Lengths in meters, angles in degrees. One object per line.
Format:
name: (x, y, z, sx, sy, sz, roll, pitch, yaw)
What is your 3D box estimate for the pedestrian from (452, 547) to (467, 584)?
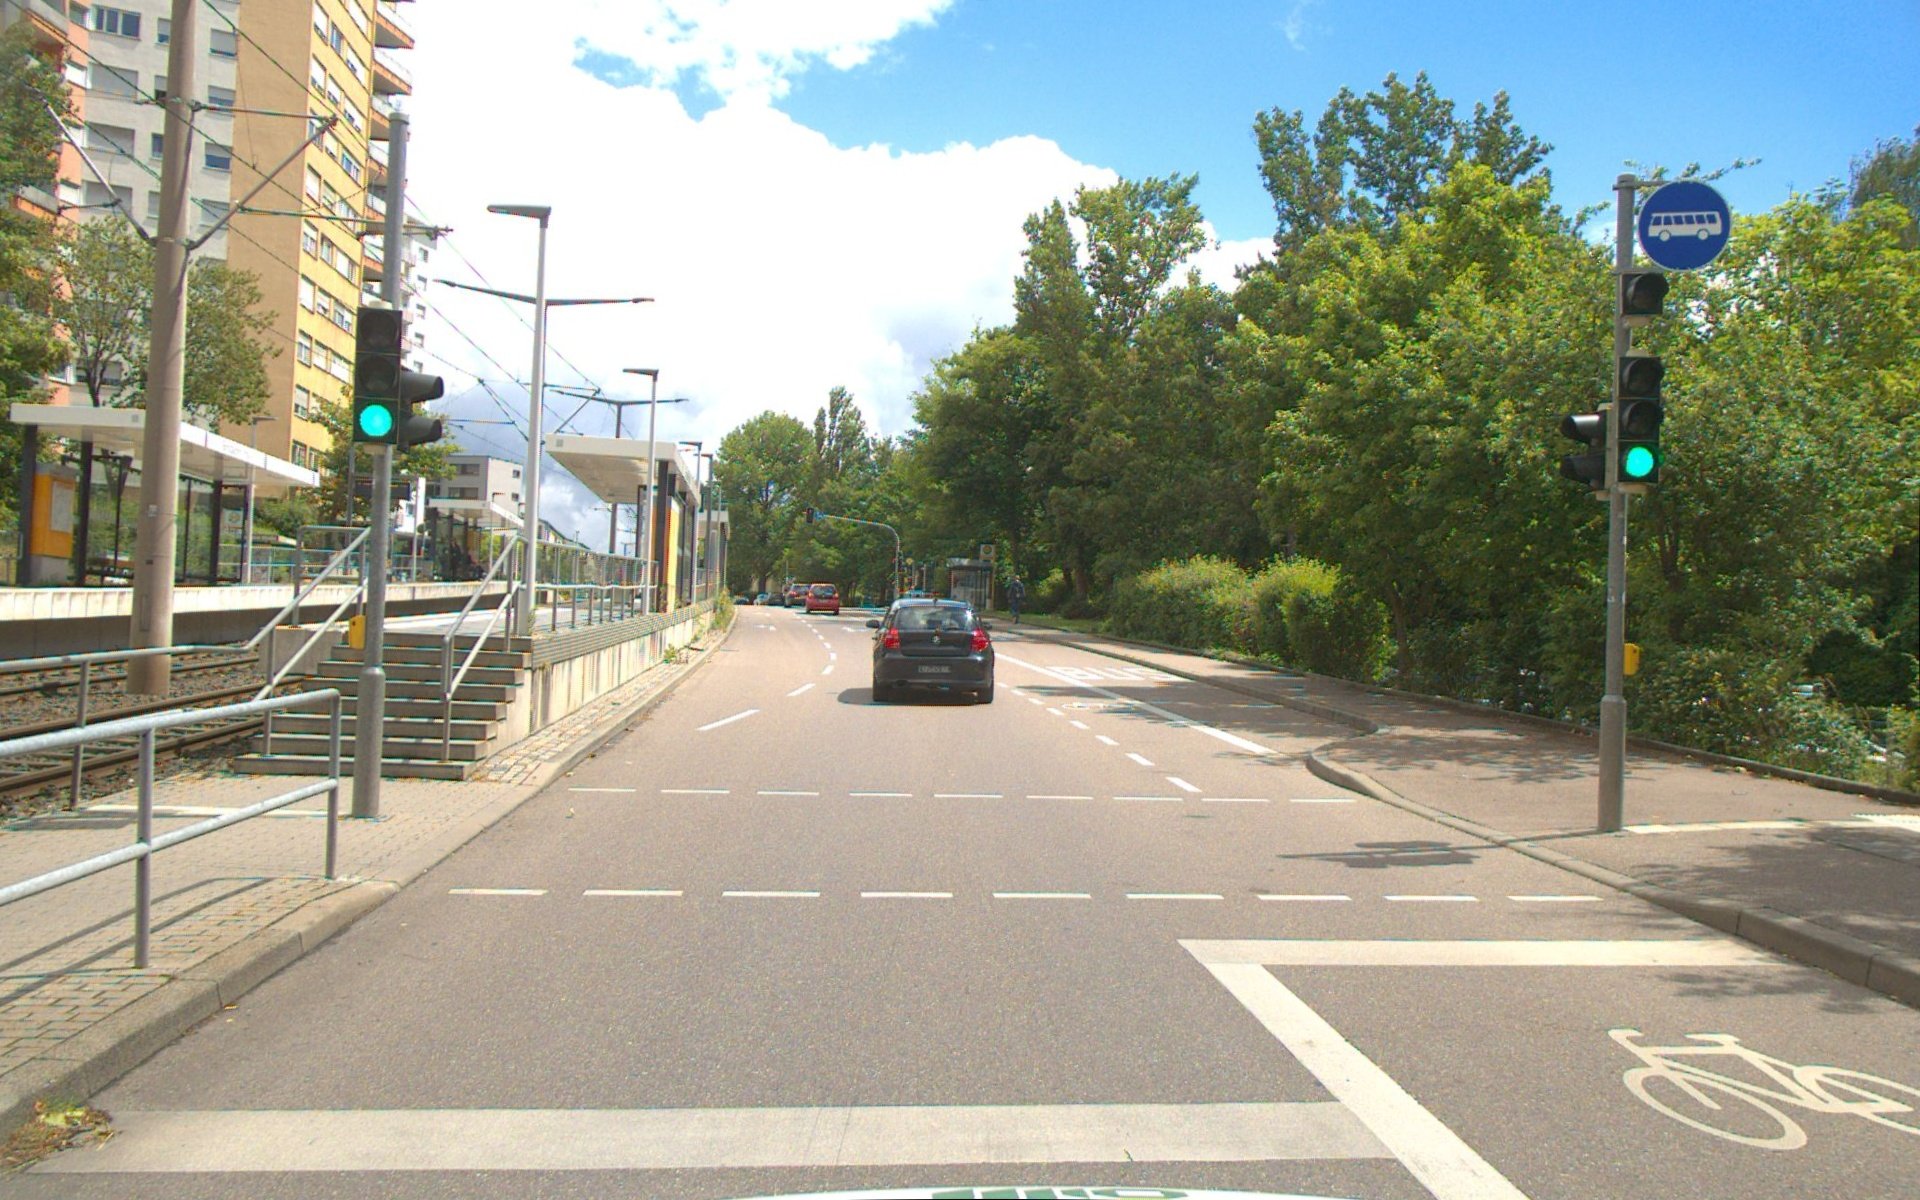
pedestrian: (-19.565, -1.329, 64.667, 0.533, 1.404, 0.519, 1, -3, -16)

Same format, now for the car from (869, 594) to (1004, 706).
car: (-0.404, 0.667, 23.760, 1.622, 1.443, 3.512, 1, 0, -6)

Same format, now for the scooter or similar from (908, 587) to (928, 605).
scooter or similar: (-2.863, -0.296, 113.240, 1.271, 1.210, 0.382, 1, 0, -24)

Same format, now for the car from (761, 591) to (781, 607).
car: (-17.358, -0.088, 152.184, 1.622, 1.443, 3.514, 2, 0, -3)

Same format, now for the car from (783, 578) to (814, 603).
car: (-9.715, -0.593, 99.503, 1.624, 1.443, 3.509, 1, 0, -9)

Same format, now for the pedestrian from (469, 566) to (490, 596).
pedestrian: (-20.143, -0.802, 69.326, 0.728, 1.258, 0.517, 1, 0, -8)

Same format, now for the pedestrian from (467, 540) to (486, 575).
pedestrian: (-19.996, -1.759, 68.427, 0.631, 1.393, 0.506, 1, 0, -8)

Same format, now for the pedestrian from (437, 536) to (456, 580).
pedestrian: (-19.865, -1.619, 63.992, 0.516, 1.673, 0.556, 1, 0, -40)

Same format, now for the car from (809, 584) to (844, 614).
car: (-6.594, -0.062, 81.663, 1.564, 1.443, 3.512, 1, 0, -7)

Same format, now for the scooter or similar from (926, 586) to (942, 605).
scooter or similar: (-1.800, -0.308, 114.185, 1.090, 1.280, 0.330, 1, 0, -20)

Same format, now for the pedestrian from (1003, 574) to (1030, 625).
pedestrian: (2.191, -0.036, 64.645, 0.786, 1.928, 1.268, 3, 0, -7)
